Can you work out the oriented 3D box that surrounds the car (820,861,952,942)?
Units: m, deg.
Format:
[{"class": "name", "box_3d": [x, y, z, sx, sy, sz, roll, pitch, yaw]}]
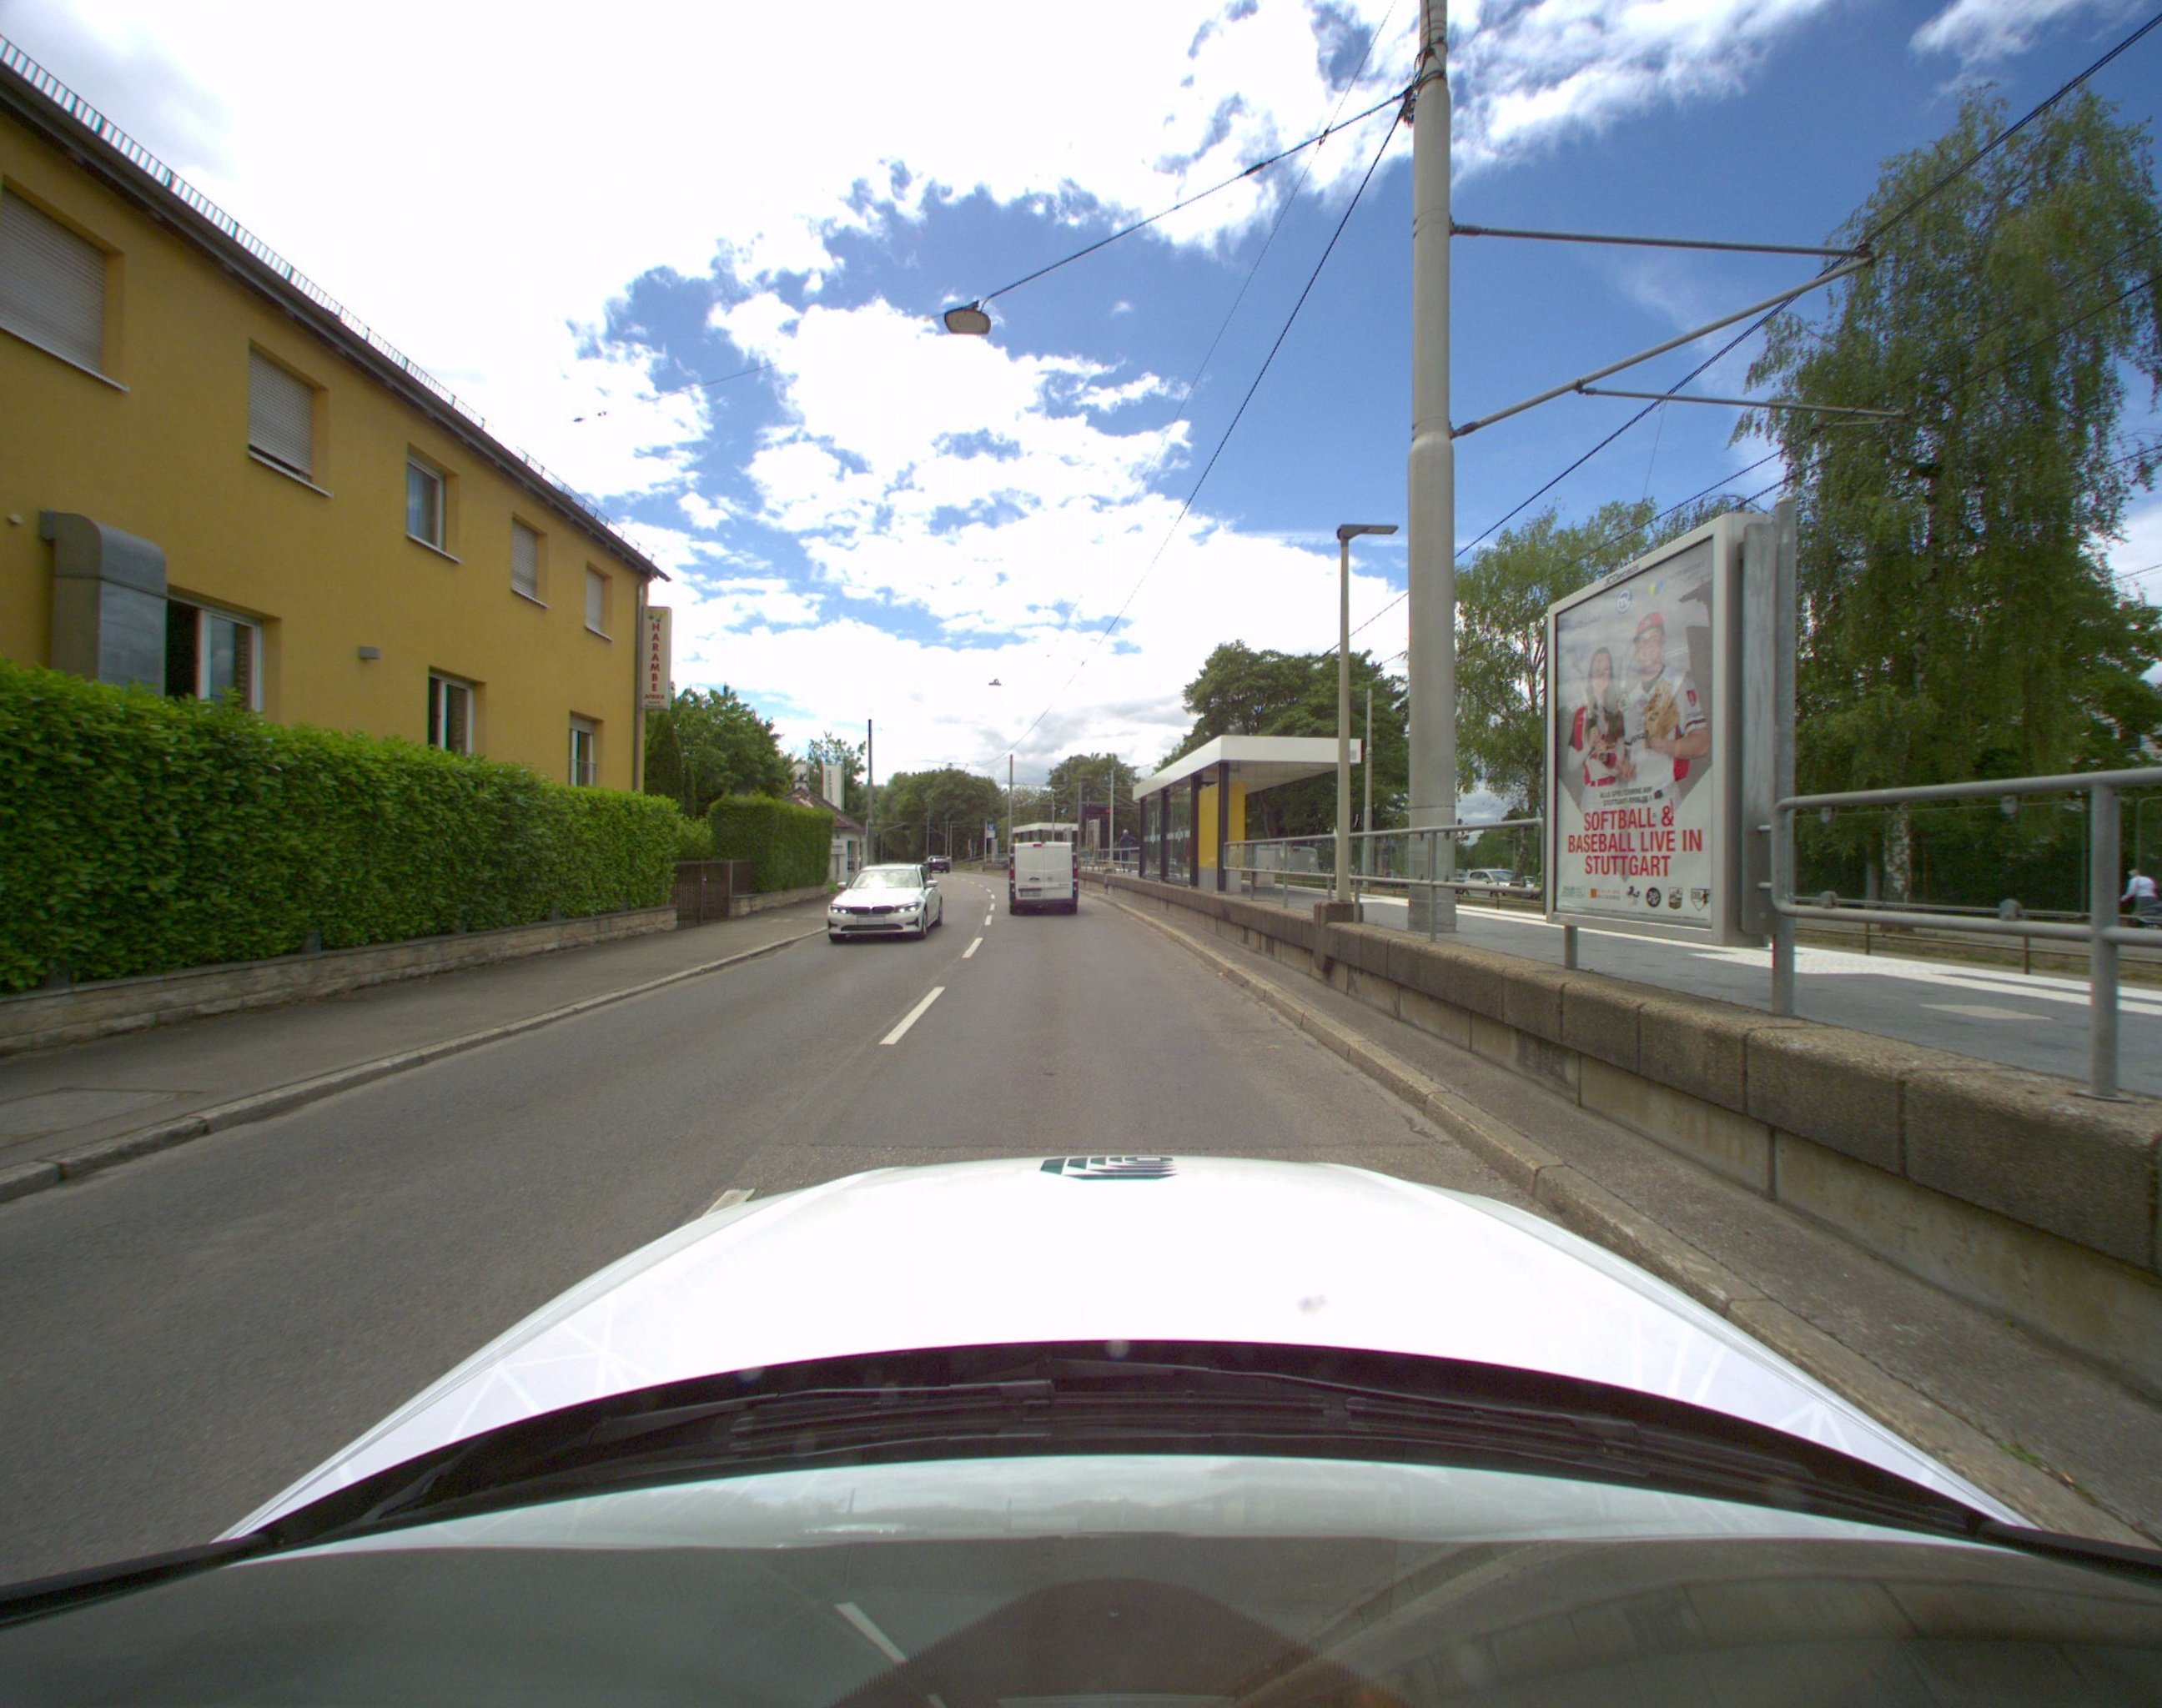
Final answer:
[{"class": "car", "box_3d": [-3.937, 0.887, 17.211, 1.814, 1.419, 4.459, -2, 0, -2]}]

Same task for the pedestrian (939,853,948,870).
[{"class": "pedestrian", "box_3d": [-14.840, 0.792, 87.939, 0.765, 1.795, 0.623, 1, -1, -40]}]

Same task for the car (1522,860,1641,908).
[{"class": "car", "box_3d": [17.809, 1.015, 29.218, 1.726, 1.574, 3.997, 1, 0, -2]}]

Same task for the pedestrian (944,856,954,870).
[{"class": "pedestrian", "box_3d": [-13.941, 0.943, 86.081, 0.765, 1.492, 0.623, 1, -1, -40]}]

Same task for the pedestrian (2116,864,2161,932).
[{"class": "pedestrian", "box_3d": [28.343, 1.153, 21.686, 0.817, 1.771, 0.688, 0, -1, 38]}]

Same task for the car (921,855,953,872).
[{"class": "car", "box_3d": [-13.693, 0.901, 77.410, 2.362, 1.564, 4.345, 2, -1, -18]}]

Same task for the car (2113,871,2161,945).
[{"class": "car", "box_3d": [24.924, 1.226, 16.867, 1.803, 1.636, 4.857, 1, 0, 13]}]

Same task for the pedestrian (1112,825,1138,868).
[{"class": "pedestrian", "box_3d": [1.753, -0.288, 32.393, 0.884, 1.671, 0.908, 1, -1, -6]}]

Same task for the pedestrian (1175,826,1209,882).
[{"class": "pedestrian", "box_3d": [2.621, -0.001, 19.243, 0.620, 1.299, 0.718, 1, -1, -7]}]

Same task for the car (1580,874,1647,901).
[{"class": "car", "box_3d": [30.517, 1.876, 46.791, 1.746, 1.488, 3.909, 0, -1, 9]}]

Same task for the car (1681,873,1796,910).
[{"class": "car", "box_3d": [28.441, 1.576, 35.445, 1.745, 1.488, 4.943, 0, -1, 10]}]

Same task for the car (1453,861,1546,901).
[{"class": "car", "box_3d": [17.649, 1.089, 34.583, 1.752, 1.574, 4.096, 1, 0, -2]}]

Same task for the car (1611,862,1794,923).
[{"class": "car", "box_3d": [18.018, 1.063, 23.911, 2.058, 1.574, 4.257, 1, 0, -2]}]

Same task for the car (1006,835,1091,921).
[{"class": "car", "box_3d": [-0.954, 0.636, 23.529, 2.112, 2.134, 5.434, 2, 0, -3]}]
